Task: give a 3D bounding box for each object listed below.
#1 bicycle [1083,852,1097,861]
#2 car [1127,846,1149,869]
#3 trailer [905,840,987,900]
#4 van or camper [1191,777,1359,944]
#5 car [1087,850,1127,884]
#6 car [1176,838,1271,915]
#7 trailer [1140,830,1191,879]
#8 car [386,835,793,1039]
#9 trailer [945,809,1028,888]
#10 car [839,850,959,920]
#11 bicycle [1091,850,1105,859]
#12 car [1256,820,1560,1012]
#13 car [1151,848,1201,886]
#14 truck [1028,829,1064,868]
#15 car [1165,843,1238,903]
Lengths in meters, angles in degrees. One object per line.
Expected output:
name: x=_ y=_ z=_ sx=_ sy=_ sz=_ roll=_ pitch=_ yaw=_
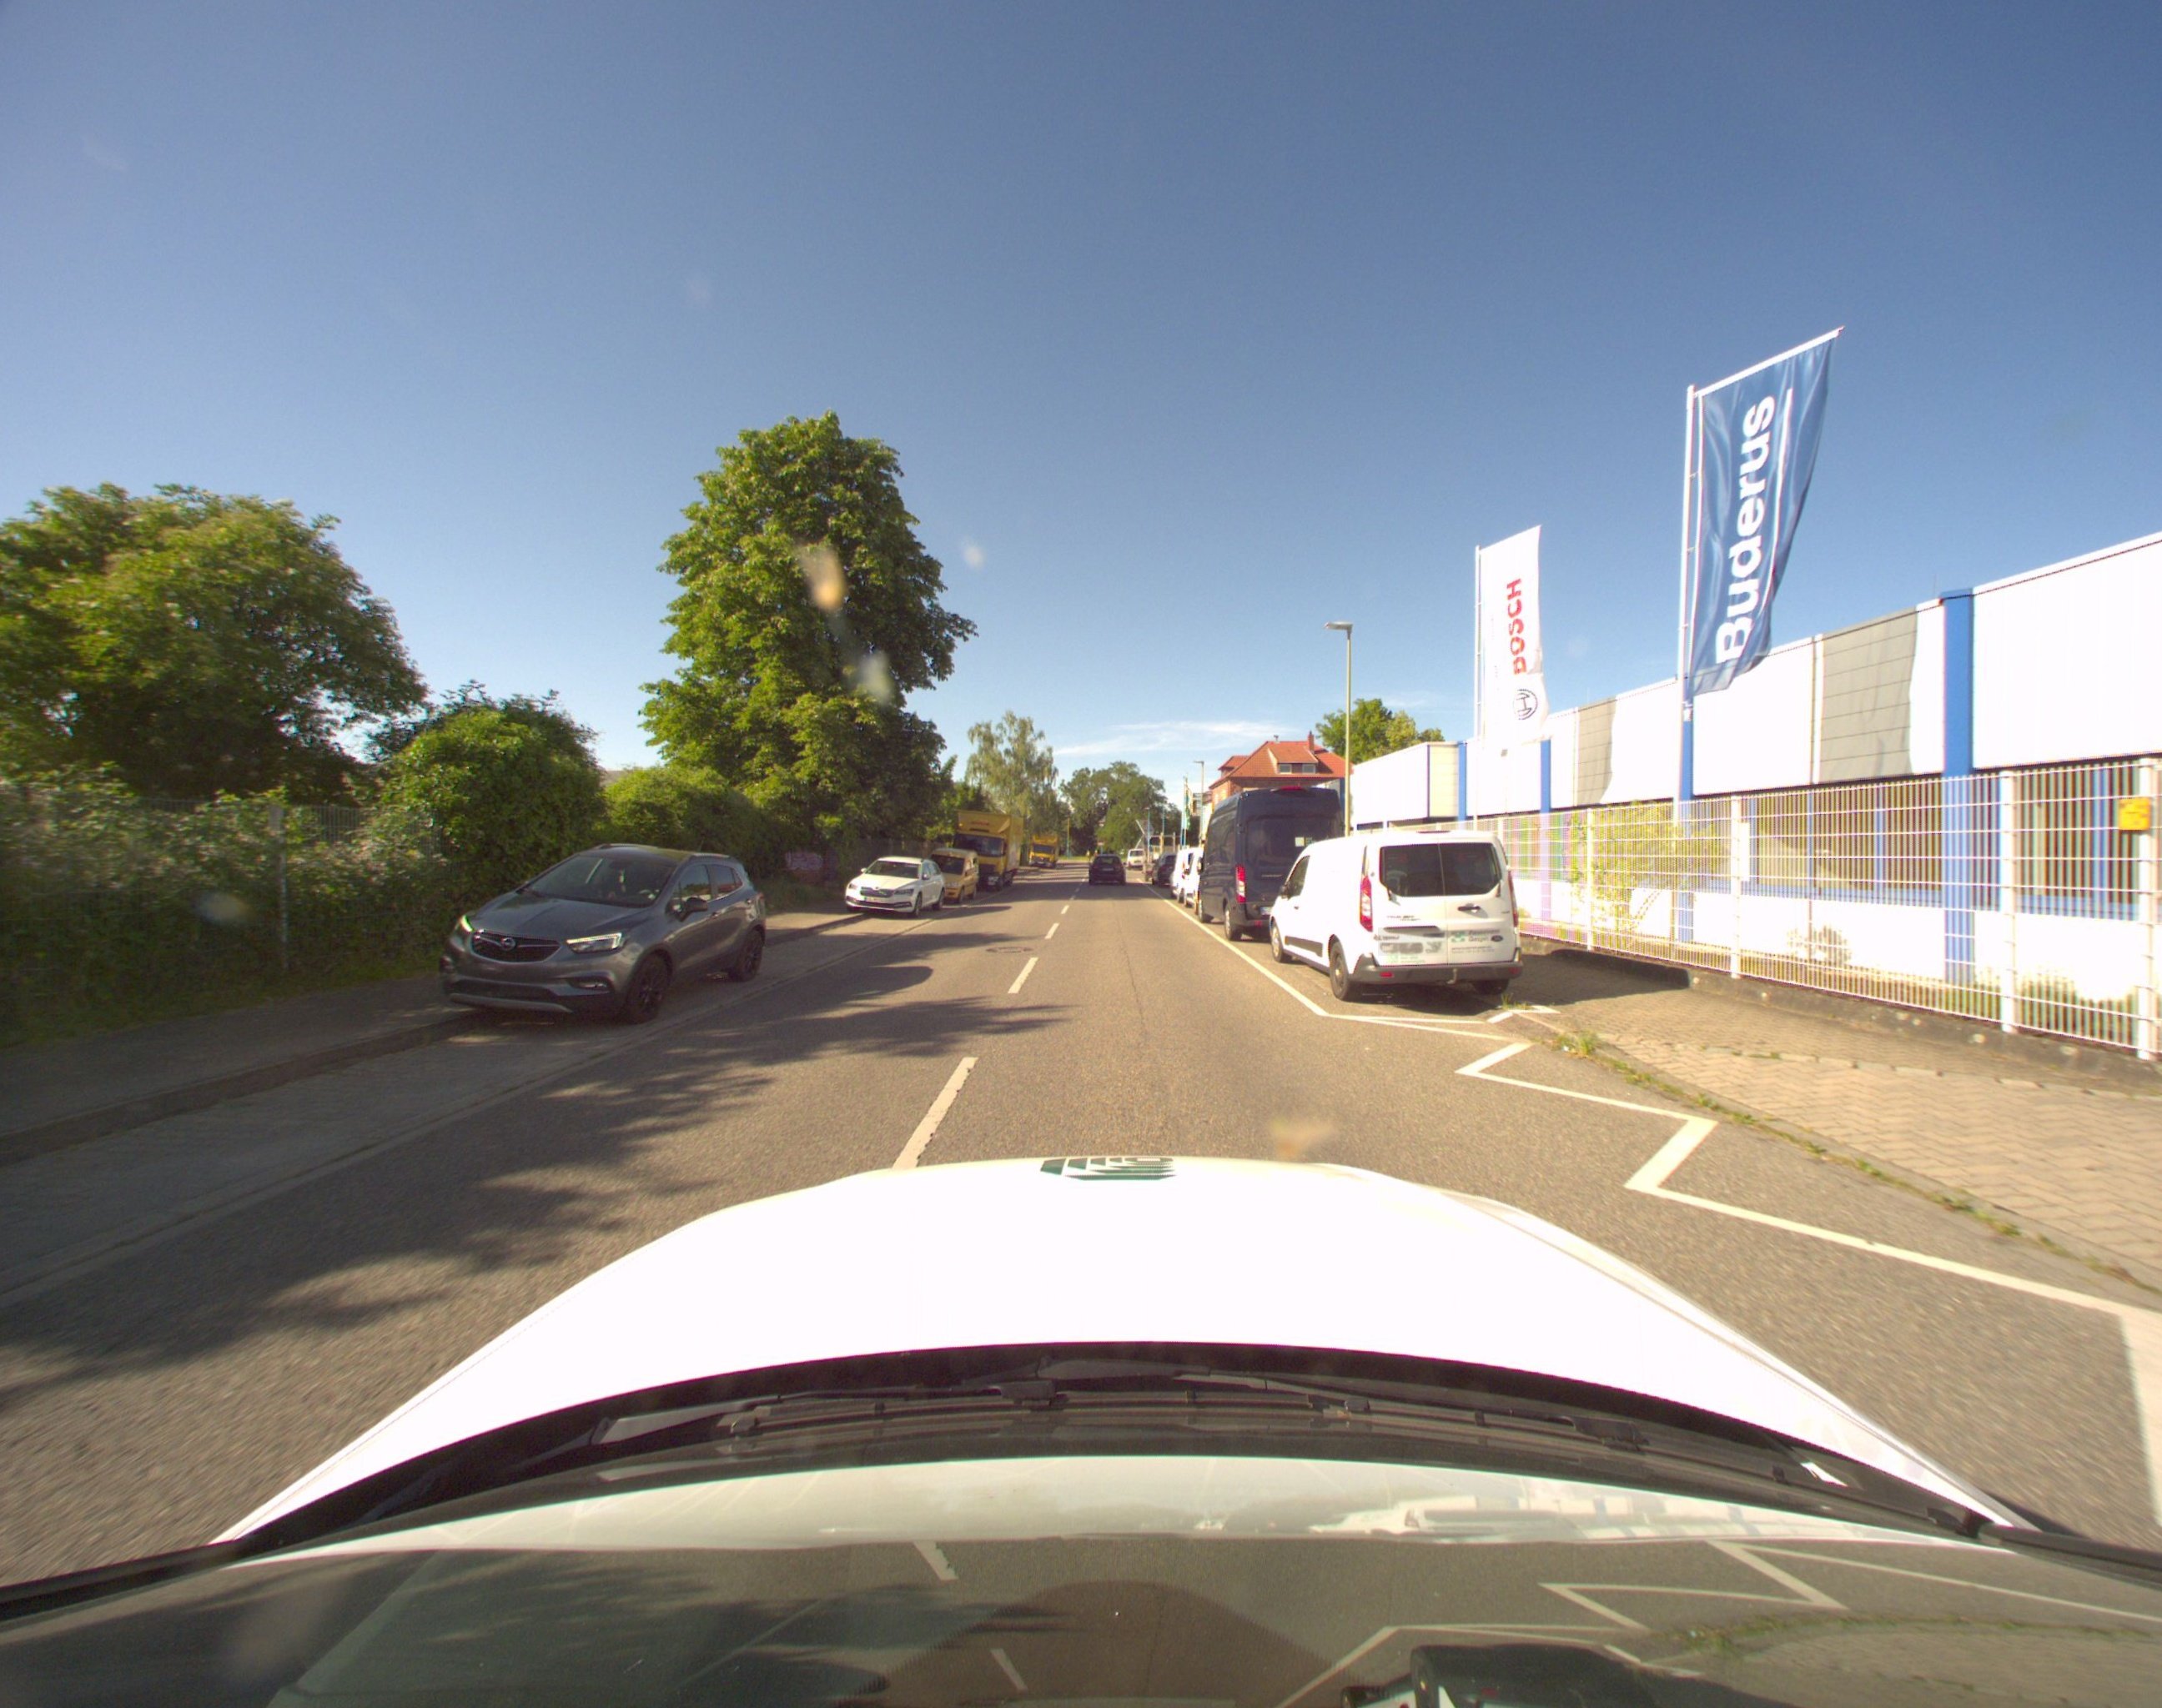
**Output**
bicycle: x=1.297 y=0.414 z=118.650 sx=0.810 sy=1.221 sz=2.233 roll=2 pitch=0 yaw=-38
car: x=5.330 y=0.309 z=76.937 sx=1.867 sy=2.013 sz=5.163 roll=2 pitch=0 yaw=2
trailer: x=-4.646 y=0.516 z=28.698 sx=1.986 sy=1.941 sz=4.417 roll=0 pitch=0 yaw=2
van or camper: x=3.694 y=0.114 z=16.861 sx=2.133 sy=2.759 sz=6.163 roll=2 pitch=0 yaw=2
car: x=1.295 y=0.593 z=39.733 sx=1.840 sy=1.530 sz=4.003 roll=0 pitch=0 yaw=2
car: x=3.853 y=0.566 z=22.853 sx=1.879 sy=1.847 sz=5.106 roll=2 pitch=0 yaw=2
trailer: x=4.736 y=0.023 z=46.560 sx=2.451 sy=2.672 sz=5.703 roll=0 pitch=0 yaw=1
car: x=-5.102 y=0.716 z=9.397 sx=1.902 sy=1.662 sz=4.462 roll=4 pitch=0 yaw=-1
trailer: x=-4.377 y=-0.237 z=39.609 sx=2.981 sy=3.443 sz=8.161 roll=0 pitch=0 yaw=0
car: x=-4.910 y=0.763 z=22.773 sx=1.900 sy=1.593 sz=5.028 roll=4 pitch=0 yaw=2
bicycle: x=2.331 y=0.103 z=114.860 sx=0.809 sy=1.268 sz=2.235 roll=2 pitch=0 yaw=-33
car: x=3.708 y=0.604 z=10.416 sx=1.879 sy=1.797 sz=5.104 roll=2 pitch=0 yaw=1
car: x=4.533 y=0.607 z=39.409 sx=1.986 sy=1.667 sz=4.733 roll=2 pitch=0 yaw=2
truck: x=-3.459 y=-0.608 z=83.213 sx=2.622 sy=3.504 sz=8.662 roll=6 pitch=1 yaw=2
car: x=4.037 y=0.614 z=28.095 sx=1.848 sy=1.830 sz=5.170 roll=2 pitch=0 yaw=2
